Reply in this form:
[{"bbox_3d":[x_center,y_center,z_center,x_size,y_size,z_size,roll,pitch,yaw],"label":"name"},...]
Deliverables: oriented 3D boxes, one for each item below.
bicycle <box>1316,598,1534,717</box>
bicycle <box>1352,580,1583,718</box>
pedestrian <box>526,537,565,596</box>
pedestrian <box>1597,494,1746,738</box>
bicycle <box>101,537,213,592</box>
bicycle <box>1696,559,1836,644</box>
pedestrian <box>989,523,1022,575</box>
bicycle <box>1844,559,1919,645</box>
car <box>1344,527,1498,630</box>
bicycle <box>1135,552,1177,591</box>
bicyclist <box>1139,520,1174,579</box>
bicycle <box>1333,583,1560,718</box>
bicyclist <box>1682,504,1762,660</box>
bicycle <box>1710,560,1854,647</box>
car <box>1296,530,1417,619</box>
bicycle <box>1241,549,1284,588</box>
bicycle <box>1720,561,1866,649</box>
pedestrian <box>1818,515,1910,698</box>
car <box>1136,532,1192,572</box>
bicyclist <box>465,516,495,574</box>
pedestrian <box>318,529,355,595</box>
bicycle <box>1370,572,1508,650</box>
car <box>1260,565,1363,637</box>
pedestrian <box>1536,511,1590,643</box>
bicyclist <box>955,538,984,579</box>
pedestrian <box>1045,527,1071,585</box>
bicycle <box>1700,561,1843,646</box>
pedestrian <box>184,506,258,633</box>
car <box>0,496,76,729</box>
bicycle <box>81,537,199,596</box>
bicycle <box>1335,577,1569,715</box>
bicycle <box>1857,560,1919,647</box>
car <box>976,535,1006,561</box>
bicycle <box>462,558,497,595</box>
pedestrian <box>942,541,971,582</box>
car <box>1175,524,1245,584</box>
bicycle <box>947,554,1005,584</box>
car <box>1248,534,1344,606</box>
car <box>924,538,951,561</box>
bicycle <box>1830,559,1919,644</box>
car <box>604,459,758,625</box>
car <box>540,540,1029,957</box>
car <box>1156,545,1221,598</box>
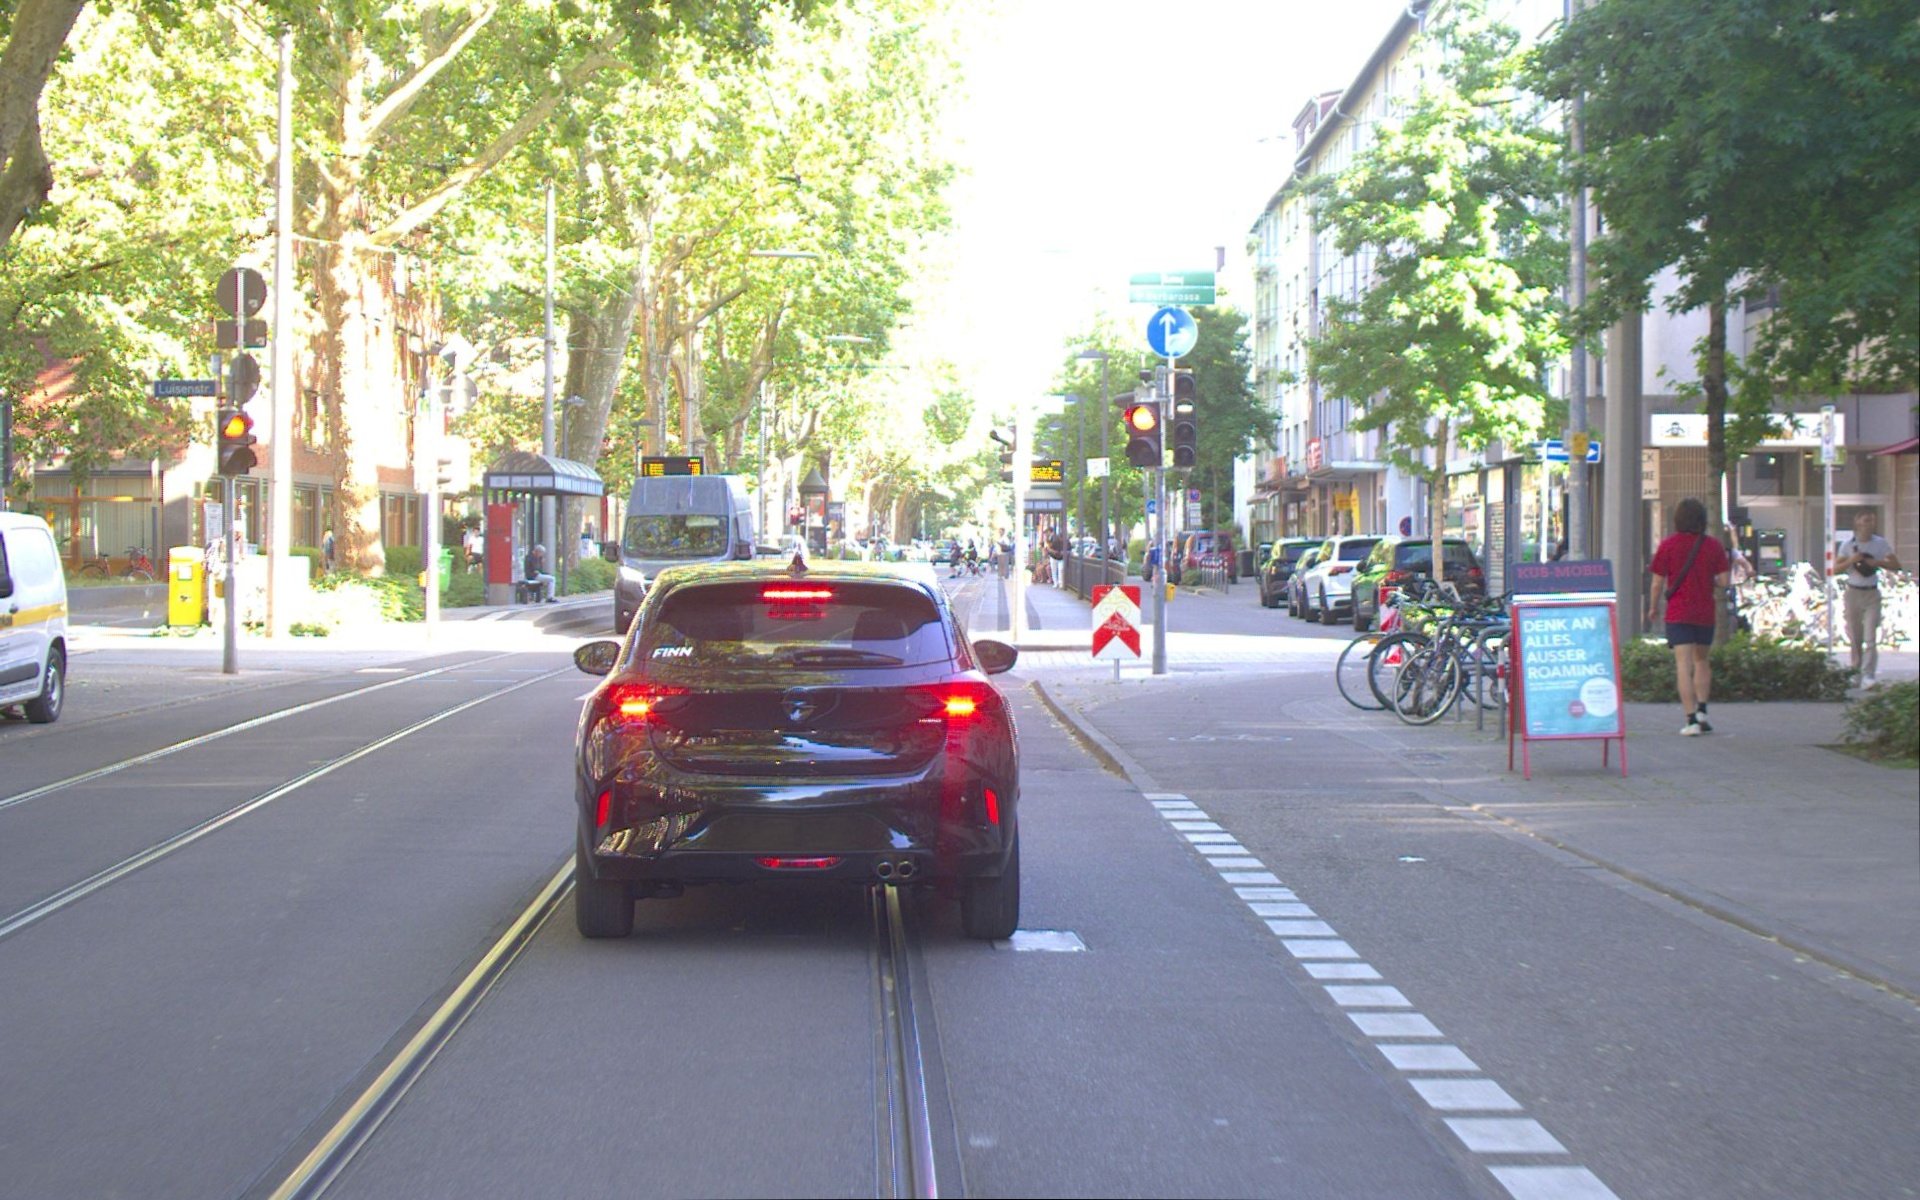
[{"bbox_3d":[4.052,0.499,30.013,1.815,0.991,0.481,1,0,-2],"label":"bicycle"},{"bbox_3d":[4.218,0.405,28.591,1.815,1.096,0.481,1,0,-7],"label":"bicycle"},{"bbox_3d":[-8.354,-0.671,69.307,0.705,1.164,0.659,-1,0,-2],"label":"pedestrian"},{"bbox_3d":[5.293,0.111,25.551,0.876,1.752,1.047,1,0,22],"label":"pedestrian"},{"bbox_3d":[-18.220,-0.798,78.043,2.340,1.162,0.682,2,0,1],"label":"bicycle"},{"bbox_3d":[11.641,0.016,49.673,1.914,1.203,0.511,0,1,-3],"label":"bicycle"},{"bbox_3d":[1.510,-1.699,114.398,0.751,1.703,0.762,1,0,35],"label":"pedestrian"},{"bbox_3d":[13.714,0.033,49.329,1.914,1.203,0.511,1,0,-3],"label":"bicycle"},{"bbox_3d":[7.719,-0.366,57.914,1.993,1.610,4.445,-2,0,1],"label":"car"},{"bbox_3d":[5.852,-0.844,102.773,0.861,1.132,2.396,1,0,-6],"label":"bicycle"},{"bbox_3d":[5.869,-1.507,102.684,0.861,1.753,1.054,1,0,-6],"label":"bicyclist"},{"bbox_3d":[4.122,0.423,29.138,1.815,1.096,0.498,1,0,-7],"label":"bicycle"},{"bbox_3d":[8.525,-0.200,38.491,0.677,1.711,0.965,1,0,3],"label":"bicyclist"},{"bbox_3d":[11.610,0.042,48.583,1.914,1.203,0.511,0,2,-3],"label":"bicycle"},{"bbox_3d":[7.493,-0.484,65.311,1.799,1.600,4.415,1,0,1],"label":"car"},{"bbox_3d":[8.908,-0.943,101.378,0.621,1.132,2.440,1,0,-10],"label":"bicycle"},{"bbox_3d":[11.641,0.069,48.041,1.914,1.203,0.511,0,2,-3],"label":"bicycle"},{"bbox_3d":[8.959,0.062,34.097,0.590,1.778,0.995,1,0,-1],"label":"pedestrian"},{"bbox_3d":[7.955,-1.862,134.521,1.993,1.481,4.000,1,0,1],"label":"car"},{"bbox_3d":[-14.606,-1.664,104.667,0.774,1.744,0.997,1,0,-1],"label":"bicyclist"},{"bbox_3d":[-15.867,-0.970,87.538,0.735,1.666,0.861,1,0,1],"label":"pedestrian"},{"bbox_3d":[7.601,0.165,54.576,2.127,1.183,0.681,1,0,9],"label":"bicycle"},{"bbox_3d":[7.321,0.002,71.894,1.744,1.435,4.247,1,0,1],"label":"car"},{"bbox_3d":[7.246,-0.271,41.312,0.551,1.556,0.645,1,-1,5],"label":"pedestrian"},{"bbox_3d":[0.414,-1.829,151.243,1.163,1.742,0.958,1,0,-4],"label":"bicyclist"},{"bbox_3d":[2.724,-1.221,95.266,0.631,1.571,0.870,3,1,1],"label":"pedestrian"},{"bbox_3d":[11.591,0.046,49.118,1.914,1.203,0.511,0,1,-3],"label":"bicycle"},{"bbox_3d":[-11.001,-0.456,51.212,0.924,1.829,0.920,1,3,-3],"label":"pedestrian"},{"bbox_3d":[-8.490,0.081,27.552,1.763,1.844,4.318,1,0,-1],"label":"car"},{"bbox_3d":[-18.404,-0.754,77.173,2.458,1.215,0.682,2,0,1],"label":"bicycle"},{"bbox_3d":[3.965,0.369,27.772,1.815,1.096,0.525,0,0,0],"label":"bicycle"},{"bbox_3d":[13.750,0.049,48.717,1.914,1.203,0.511,1,2,-3],"label":"bicycle"},{"bbox_3d":[1.902,-3.191,212.711,1.745,1.539,4.000,1,0,-1],"label":"car"},{"bbox_3d":[-14.647,-0.730,104.786,0.782,1.107,2.596,1,0,-2],"label":"bicycle"},{"bbox_3d":[-0.151,-1.645,148.655,1.163,1.742,0.958,1,0,-4],"label":"pedestrian"},{"bbox_3d":[8.390,-1.542,115.616,1.993,1.946,4.000,1,0,0],"label":"car"},{"bbox_3d":[0.707,-1.371,151.269,2.480,1.236,0.958,1,0,-4],"label":"bicycle"},{"bbox_3d":[7.899,-0.710,81.121,1.857,1.610,4.398,1,0,1],"label":"car"},{"bbox_3d":[-1.539,-3.462,235.043,1.745,1.539,4.000,1,0,-1],"label":"car"},{"bbox_3d":[13.685,0.031,49.993,1.914,1.203,0.511,1,0,-3],"label":"bicycle"},{"bbox_3d":[-4.796,-0.979,59.878,2.113,2.729,6.115,-1,0,1],"label":"car"},{"bbox_3d":[-0.679,0.518,14.248,1.759,1.503,3.683,0,1,-1],"label":"car"},{"bbox_3d":[8.124,-1.012,122.369,1.993,1.791,4.000,1,0,0],"label":"car"}]
